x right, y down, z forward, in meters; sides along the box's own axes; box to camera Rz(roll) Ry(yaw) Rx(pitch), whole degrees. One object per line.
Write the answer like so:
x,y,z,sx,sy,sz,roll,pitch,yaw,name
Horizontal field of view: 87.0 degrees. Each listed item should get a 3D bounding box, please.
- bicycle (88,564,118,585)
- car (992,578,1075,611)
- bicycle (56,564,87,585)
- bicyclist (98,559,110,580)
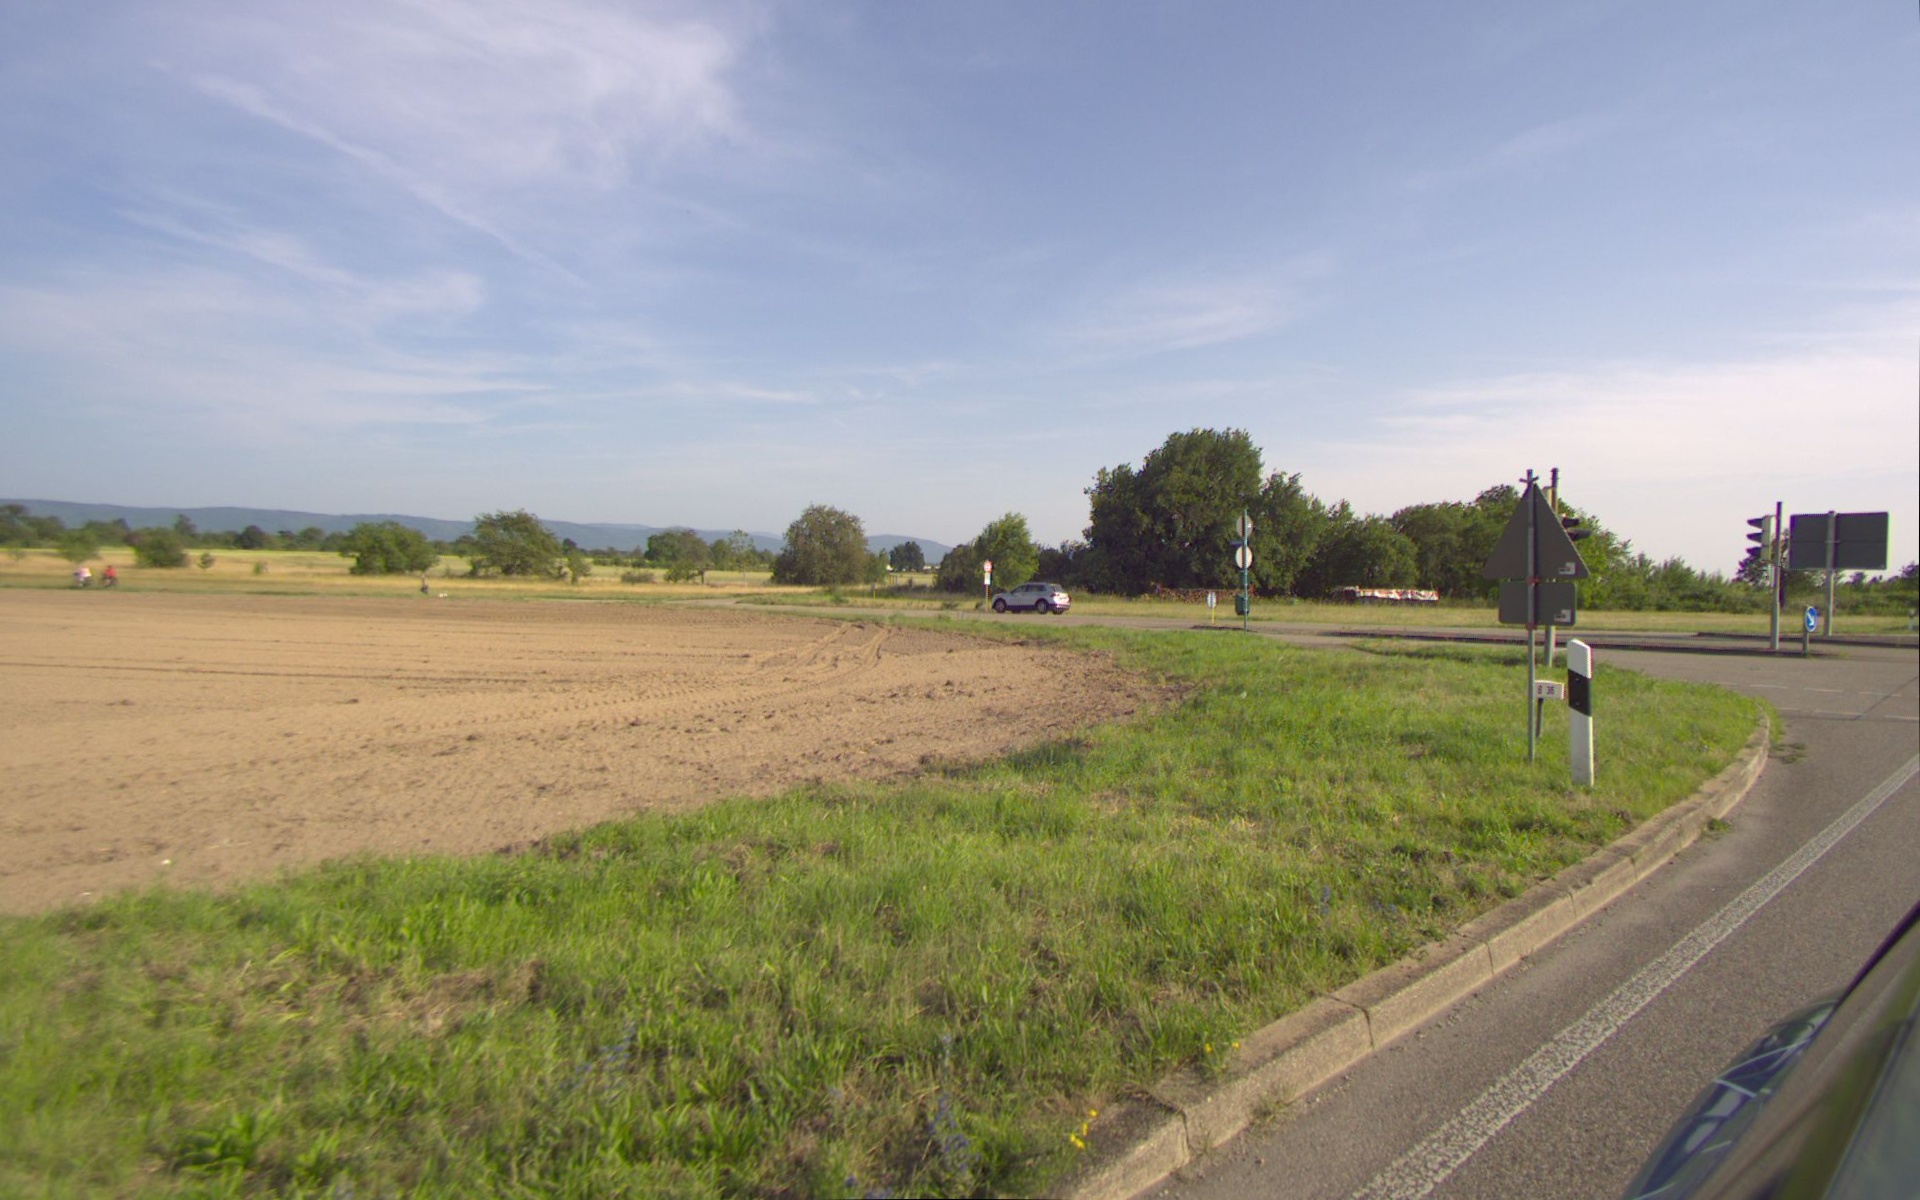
-65.306,-1.934,77.161,1.941,1.550,0.503,0,0,3,bicycle
3.898,-0.314,53.607,3.974,1.672,1.975,0,0,35,car
-66.815,-1.919,76.112,1.941,1.550,0.503,0,0,3,bicycle
-65.275,-2.323,77.152,0.540,1.617,0.487,0,0,2,bicyclist
